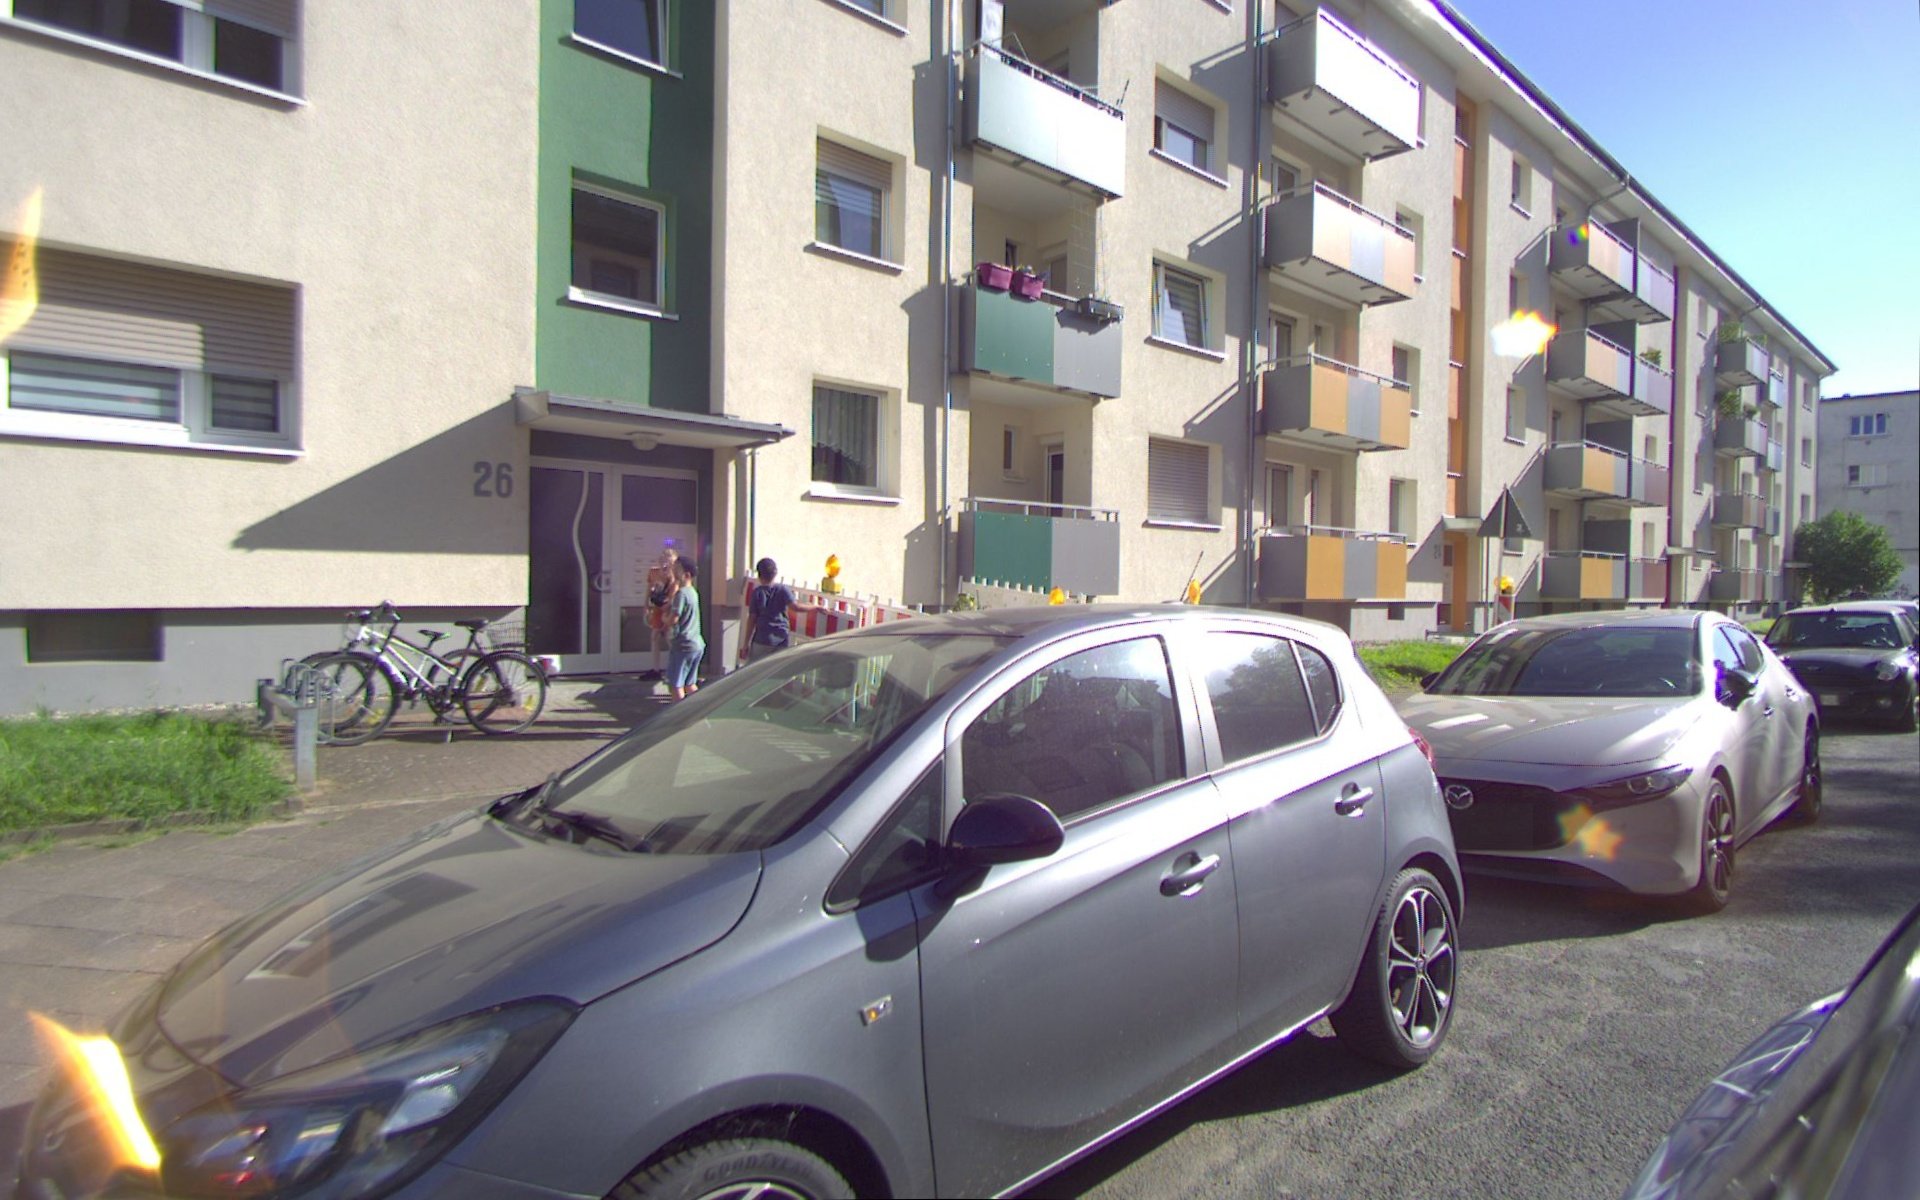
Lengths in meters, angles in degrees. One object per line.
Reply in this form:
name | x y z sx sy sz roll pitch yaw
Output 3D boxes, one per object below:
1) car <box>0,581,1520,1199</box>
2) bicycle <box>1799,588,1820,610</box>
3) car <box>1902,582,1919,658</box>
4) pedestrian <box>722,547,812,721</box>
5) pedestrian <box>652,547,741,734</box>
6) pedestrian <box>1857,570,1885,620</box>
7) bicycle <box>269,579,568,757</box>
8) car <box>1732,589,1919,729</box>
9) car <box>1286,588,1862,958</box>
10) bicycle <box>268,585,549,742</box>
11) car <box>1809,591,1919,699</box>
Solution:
car | -0.070 0.717 2.840 3.871 1.478 1.648 -2 2 -41
bicycle | 38.082 -0.056 45.343 2.247 0.972 0.485 -1 3 -45
car | 23.291 0.406 23.354 4.525 1.642 1.901 -1 0 -43
pedestrian | -1.689 0.278 8.854 0.470 1.451 0.568 4 3 43
pedestrian | -2.131 0.305 8.205 0.447 1.451 0.503 3 2 25
pedestrian | 33.508 -0.191 37.224 0.826 1.793 0.646 -1 2 -40
bicycle | -3.966 0.441 7.513 1.865 1.132 0.561 0 6 -41
car | 11.244 0.646 12.729 3.520 1.486 1.691 -2 -1 -40
car | 4.037 0.737 6.335 4.263 1.490 1.795 -2 -1 -40
bicycle | -4.269 0.443 7.938 1.865 1.073 0.447 0 6 -41
car | 14.880 0.633 16.139 3.757 1.481 1.687 -1 2 -44
